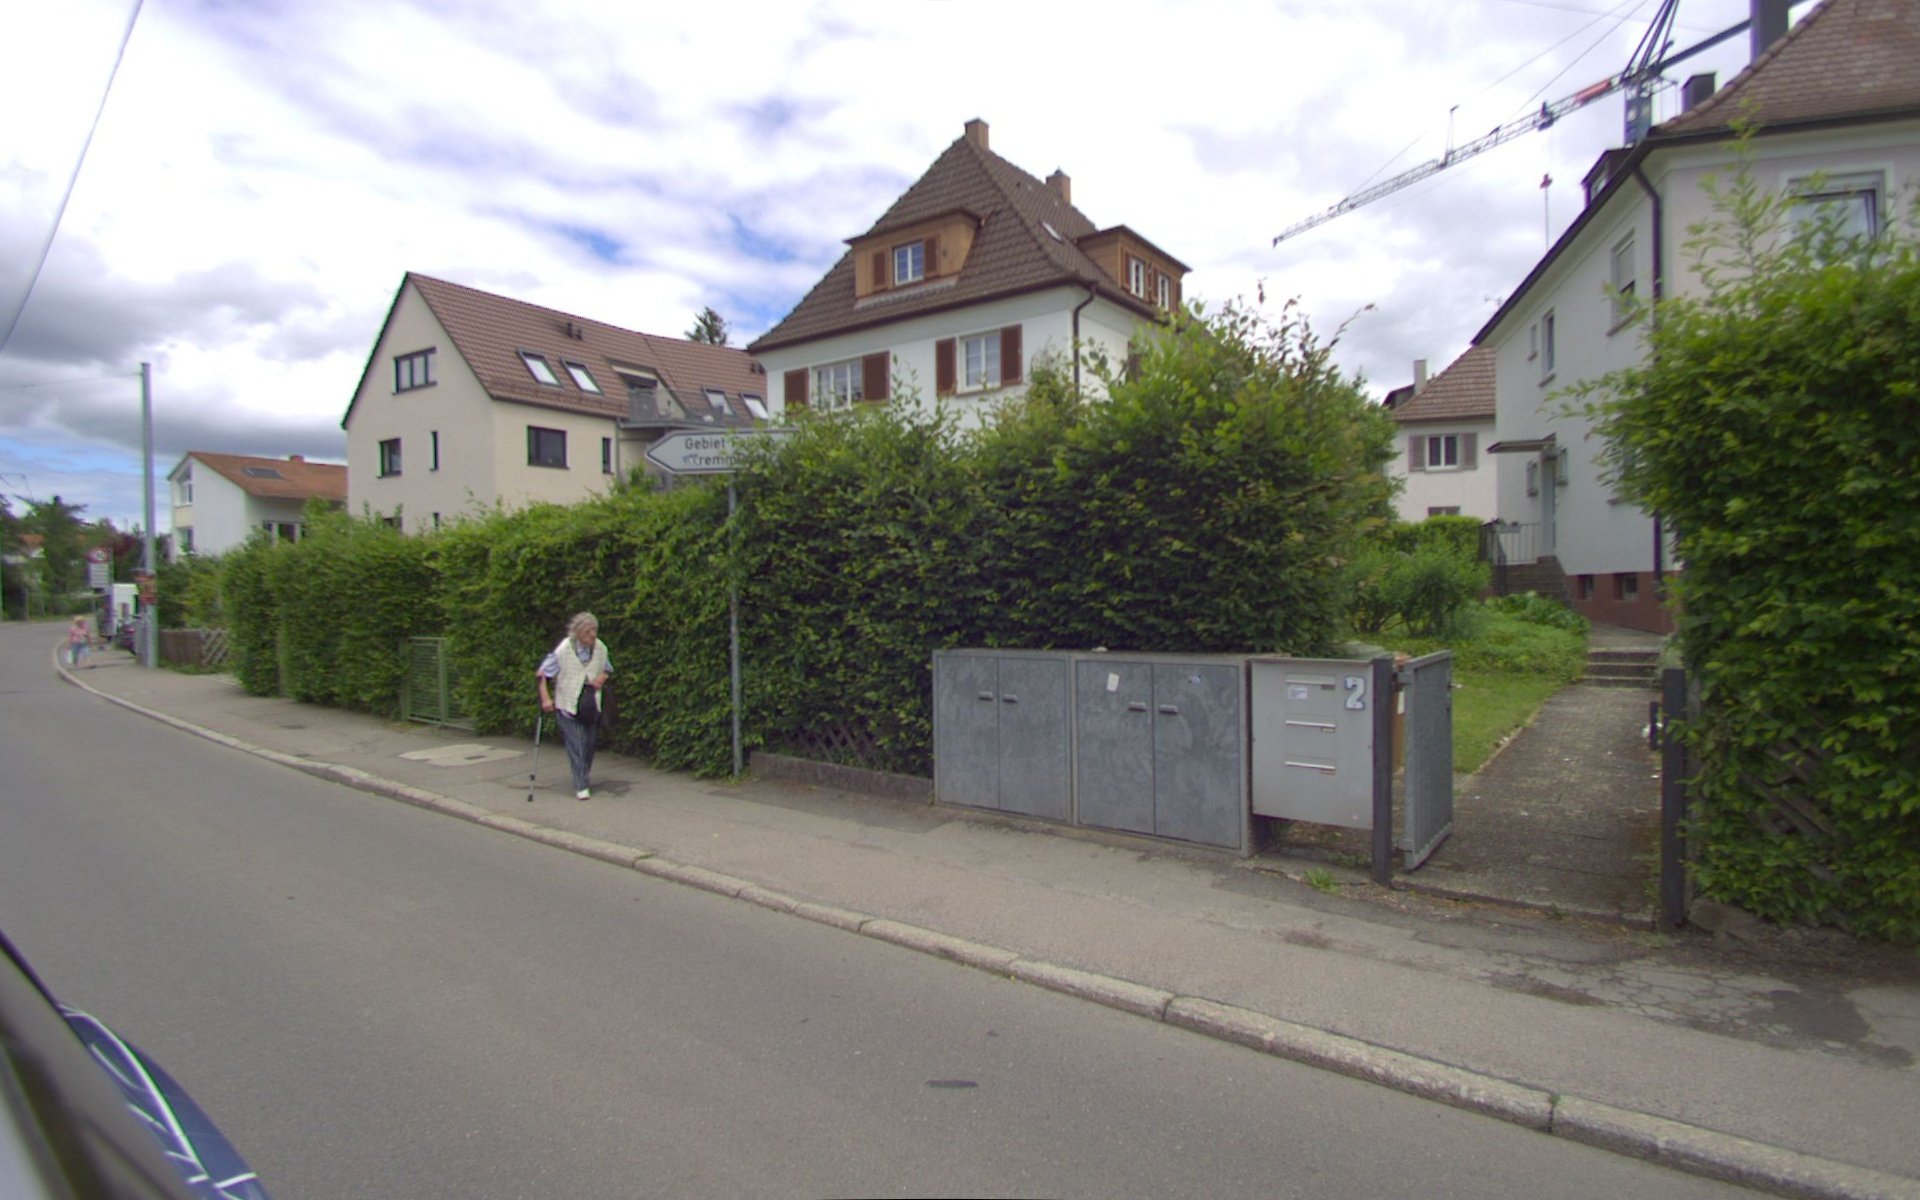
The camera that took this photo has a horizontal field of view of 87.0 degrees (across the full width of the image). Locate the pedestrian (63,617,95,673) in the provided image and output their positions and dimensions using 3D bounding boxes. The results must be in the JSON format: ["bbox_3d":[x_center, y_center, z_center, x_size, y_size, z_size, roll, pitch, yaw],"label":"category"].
[{"bbox_3d":[-26.342,1.332,30.252,0.608,1.611,0.611,-2,0,40],"label":"pedestrian"}]

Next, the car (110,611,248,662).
[{"bbox_3d":[-30.116,1.366,39.101,1.885,1.741,3.944,-1,0,43],"label":"car"}]

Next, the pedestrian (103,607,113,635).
[{"bbox_3d":[-61.436,1.514,72.959,0.519,1.966,0.537,-1,0,-39],"label":"pedestrian"}]

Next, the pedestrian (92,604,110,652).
[{"bbox_3d":[-35.629,1.143,41.999,0.528,1.966,0.528,-1,0,-40],"label":"pedestrian"}]

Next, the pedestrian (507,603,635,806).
[{"bbox_3d":[-3.164,0.817,8.268,0.542,1.542,0.742,-2,1,28],"label":"pedestrian"}]
